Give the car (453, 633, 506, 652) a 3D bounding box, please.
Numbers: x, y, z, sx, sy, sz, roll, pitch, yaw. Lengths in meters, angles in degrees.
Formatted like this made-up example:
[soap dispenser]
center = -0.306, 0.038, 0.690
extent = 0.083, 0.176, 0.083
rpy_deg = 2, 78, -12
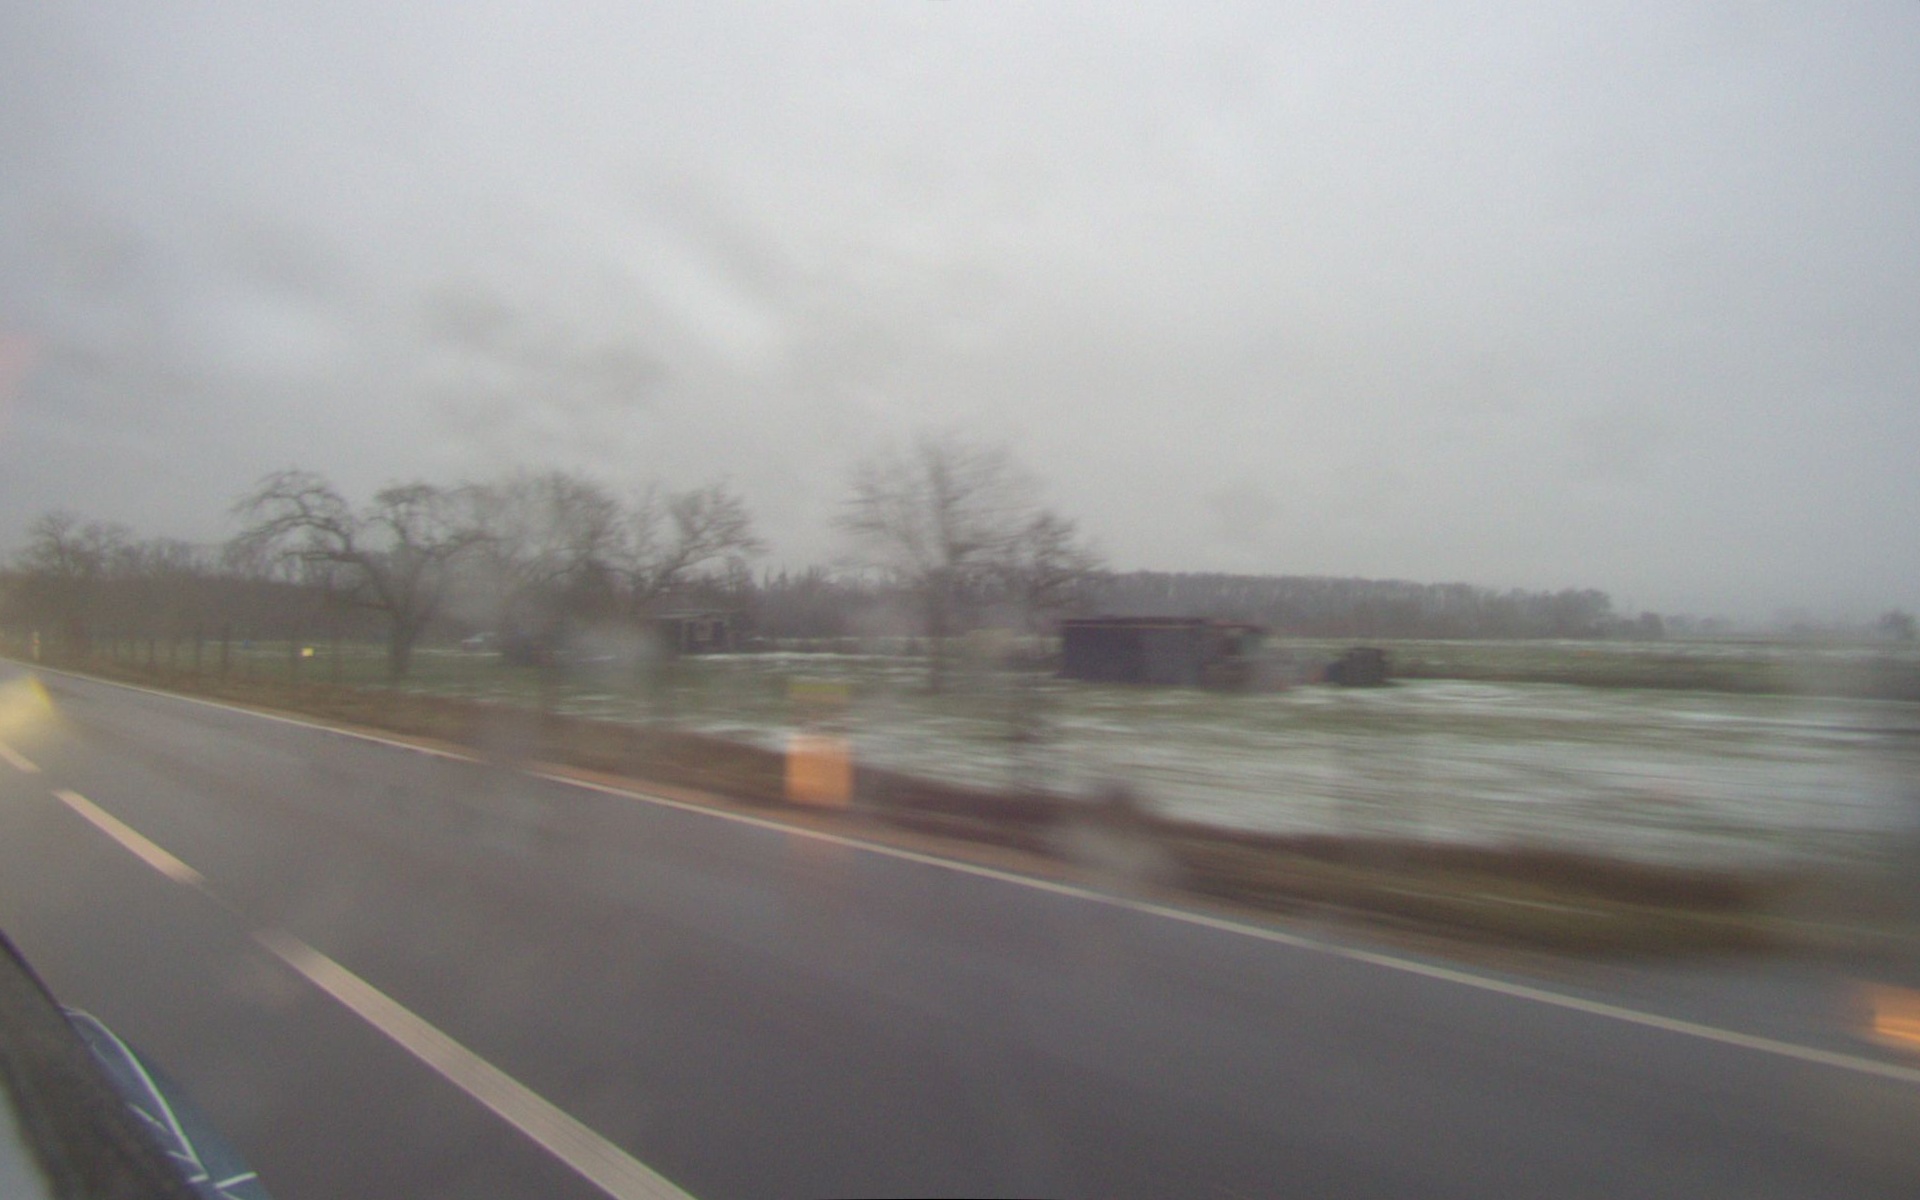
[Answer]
[car]
center = -37.154, 3.260, 78.279
extent = 1.591, 1.352, 3.421
rpy_deg = -1, 0, 27
